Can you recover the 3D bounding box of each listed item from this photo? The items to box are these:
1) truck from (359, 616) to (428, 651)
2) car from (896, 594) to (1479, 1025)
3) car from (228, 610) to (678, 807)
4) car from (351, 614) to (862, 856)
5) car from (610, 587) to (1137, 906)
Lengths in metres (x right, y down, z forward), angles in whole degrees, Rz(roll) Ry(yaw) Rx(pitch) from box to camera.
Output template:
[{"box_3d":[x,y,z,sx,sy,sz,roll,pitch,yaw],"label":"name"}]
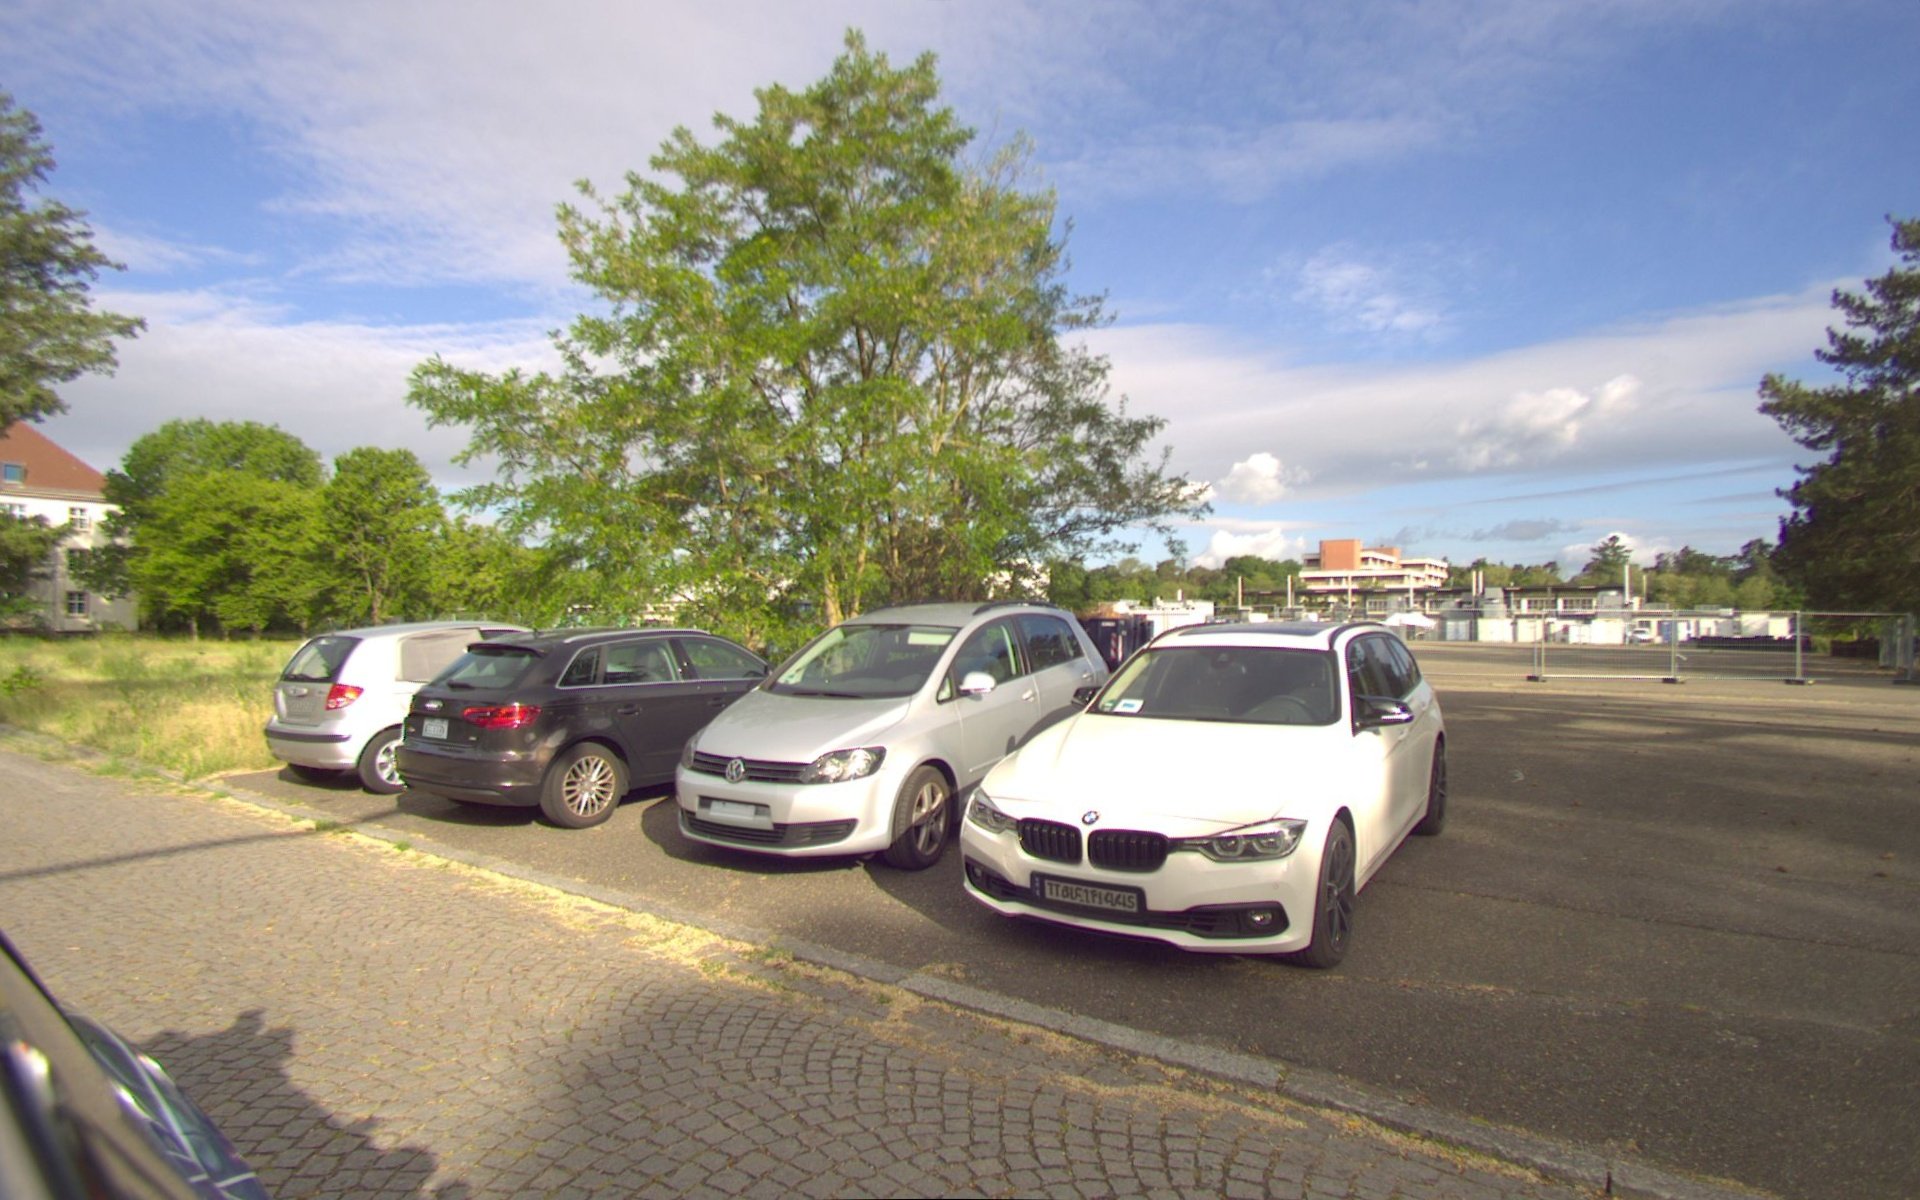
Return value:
[{"box_3d":[-44.685,2.645,79.746,6.951,2.607,2.388,-2,-2,39],"label":"truck"},{"box_3d":[1.765,0.787,6.123,1.898,1.466,4.550,-3,0,34],"label":"car"},{"box_3d":[-4.941,0.904,10.292,1.845,1.484,3.652,-1,1,35],"label":"car"},{"box_3d":[-2.795,0.912,8.736,1.855,1.440,3.795,0,1,35],"label":"car"},{"box_3d":[-0.320,0.760,7.570,1.852,1.611,4.091,-1,1,32],"label":"car"}]
